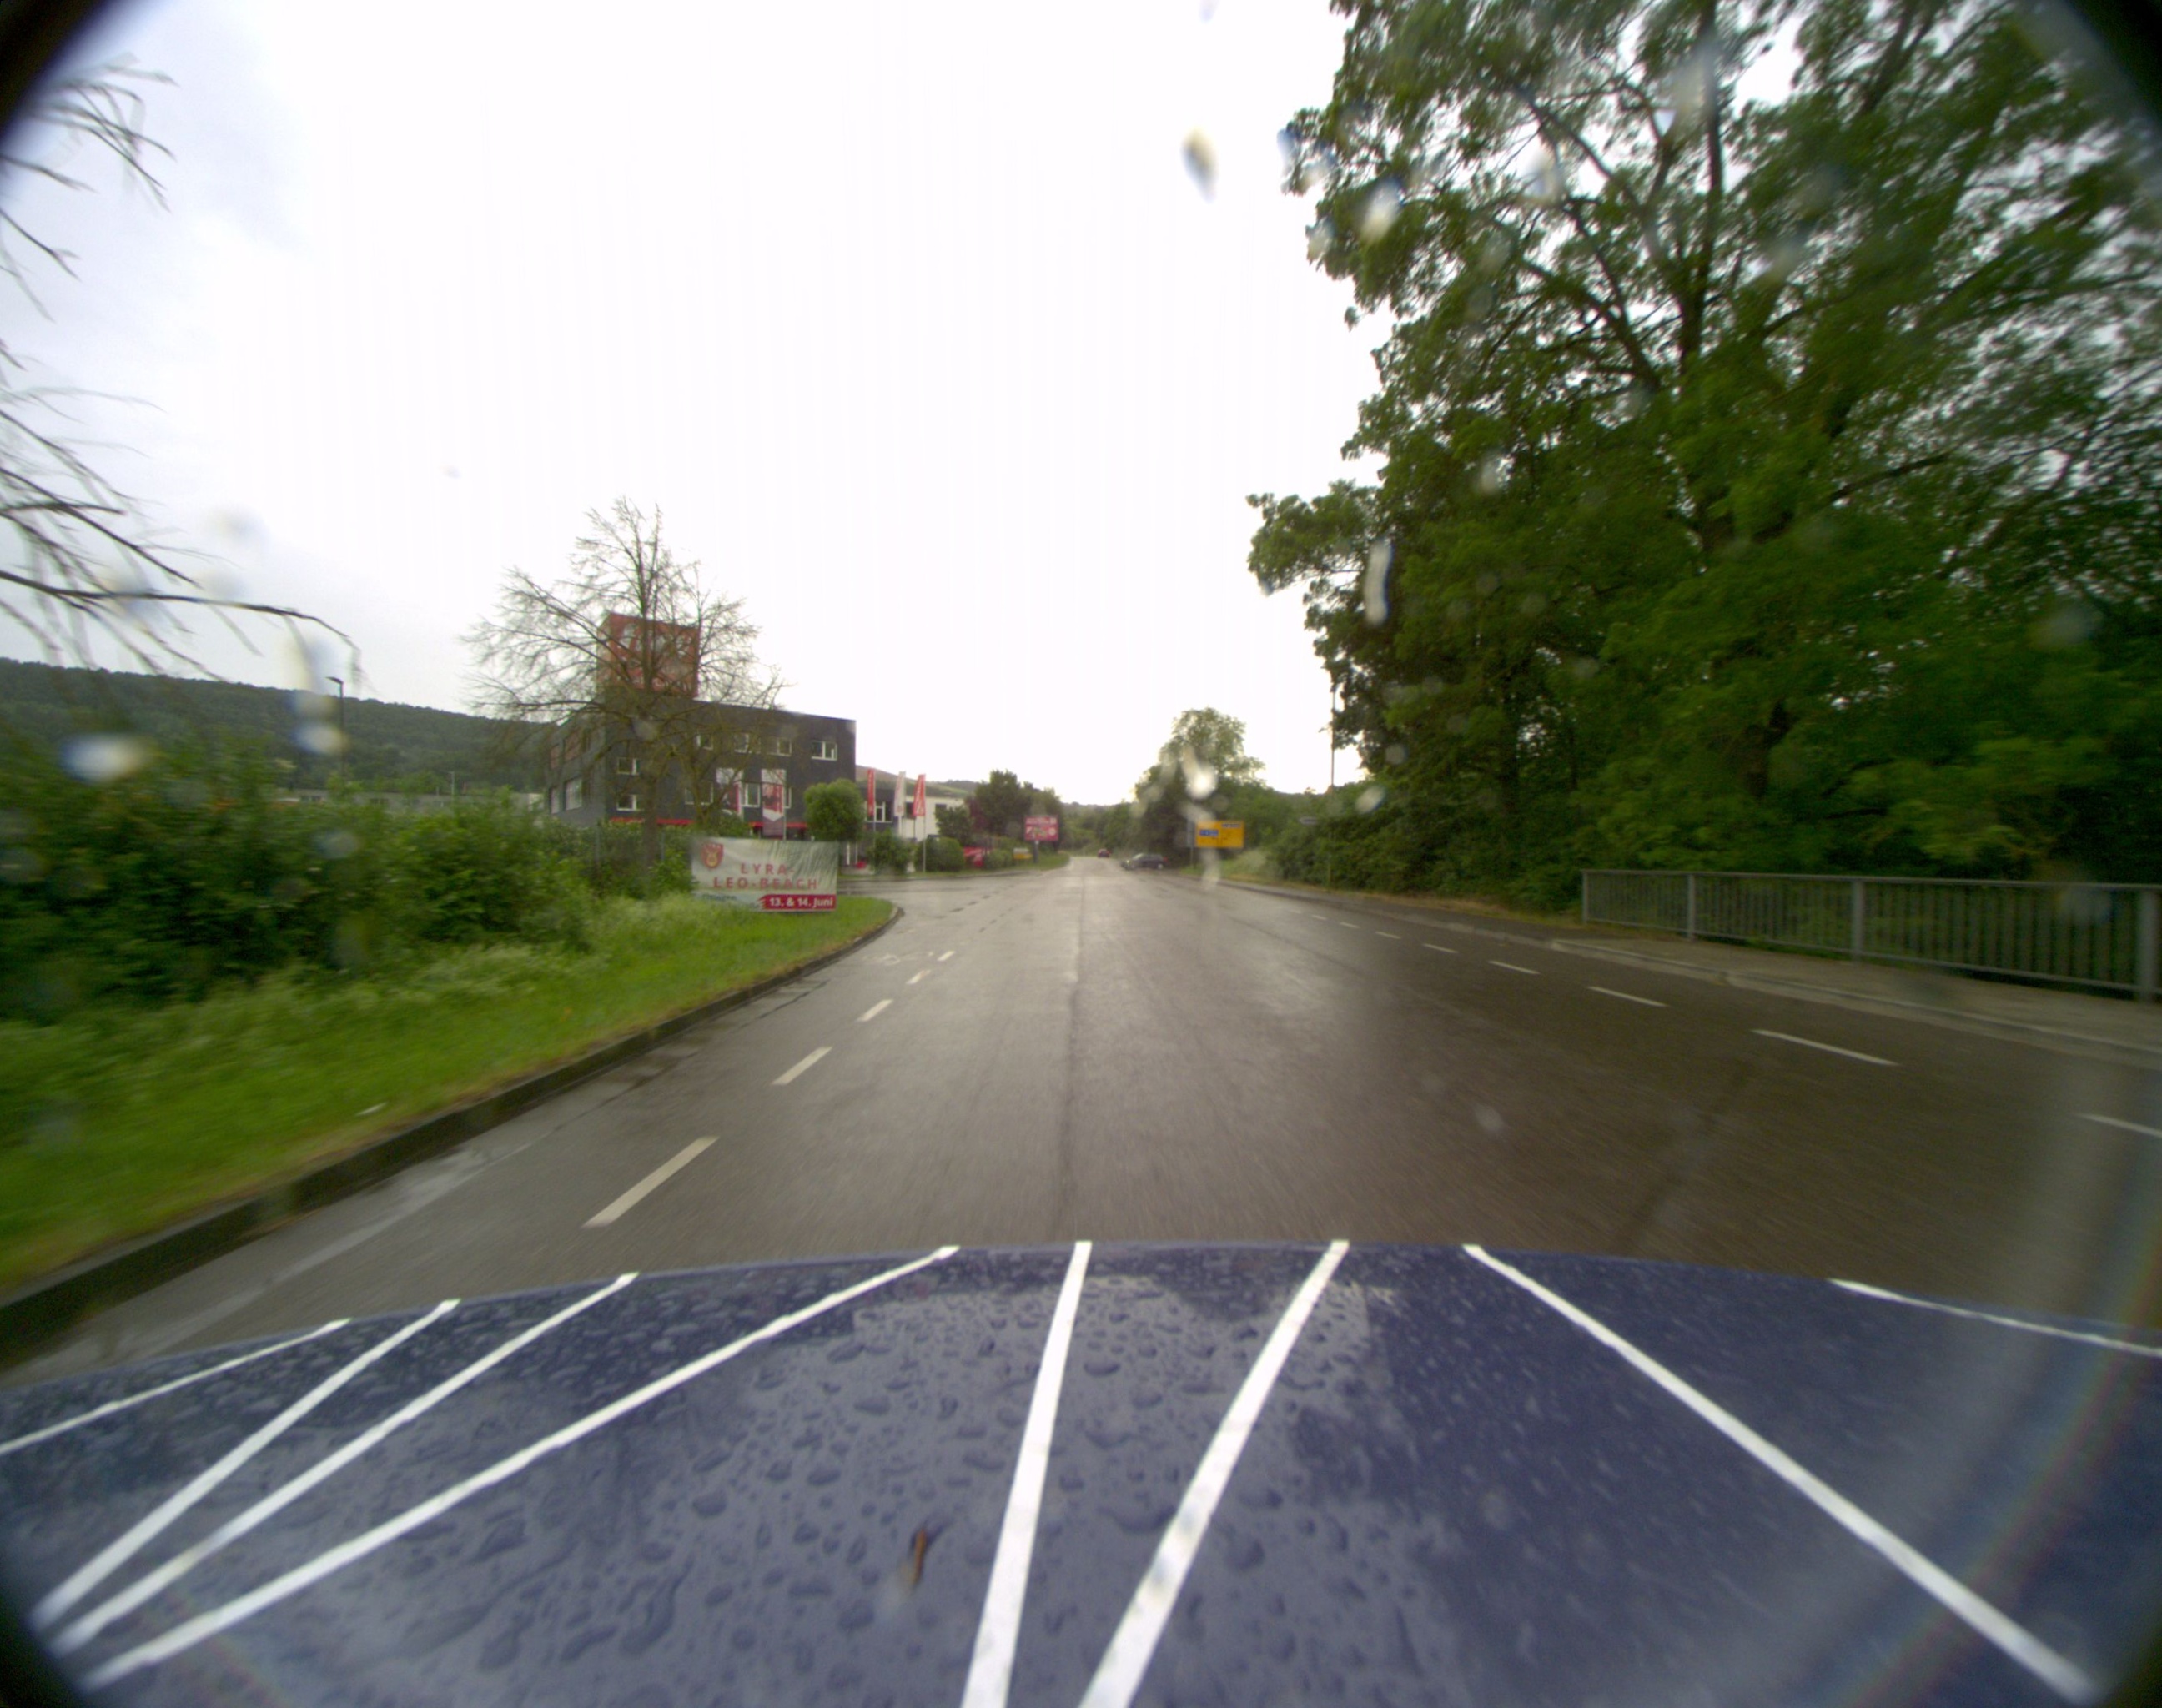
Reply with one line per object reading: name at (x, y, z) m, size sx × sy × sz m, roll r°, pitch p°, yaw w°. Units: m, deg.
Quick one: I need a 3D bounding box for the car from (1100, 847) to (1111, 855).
car at (4.319, -0.526, 131.585) m, size 1.834 × 1.515 × 4.000 m, roll 0°, pitch 1°, yaw 3°

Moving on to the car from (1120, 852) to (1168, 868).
car at (5.729, 0.535, 69.696) m, size 4.120 × 1.481 × 1.855 m, roll 0°, pitch 1°, yaw -8°
